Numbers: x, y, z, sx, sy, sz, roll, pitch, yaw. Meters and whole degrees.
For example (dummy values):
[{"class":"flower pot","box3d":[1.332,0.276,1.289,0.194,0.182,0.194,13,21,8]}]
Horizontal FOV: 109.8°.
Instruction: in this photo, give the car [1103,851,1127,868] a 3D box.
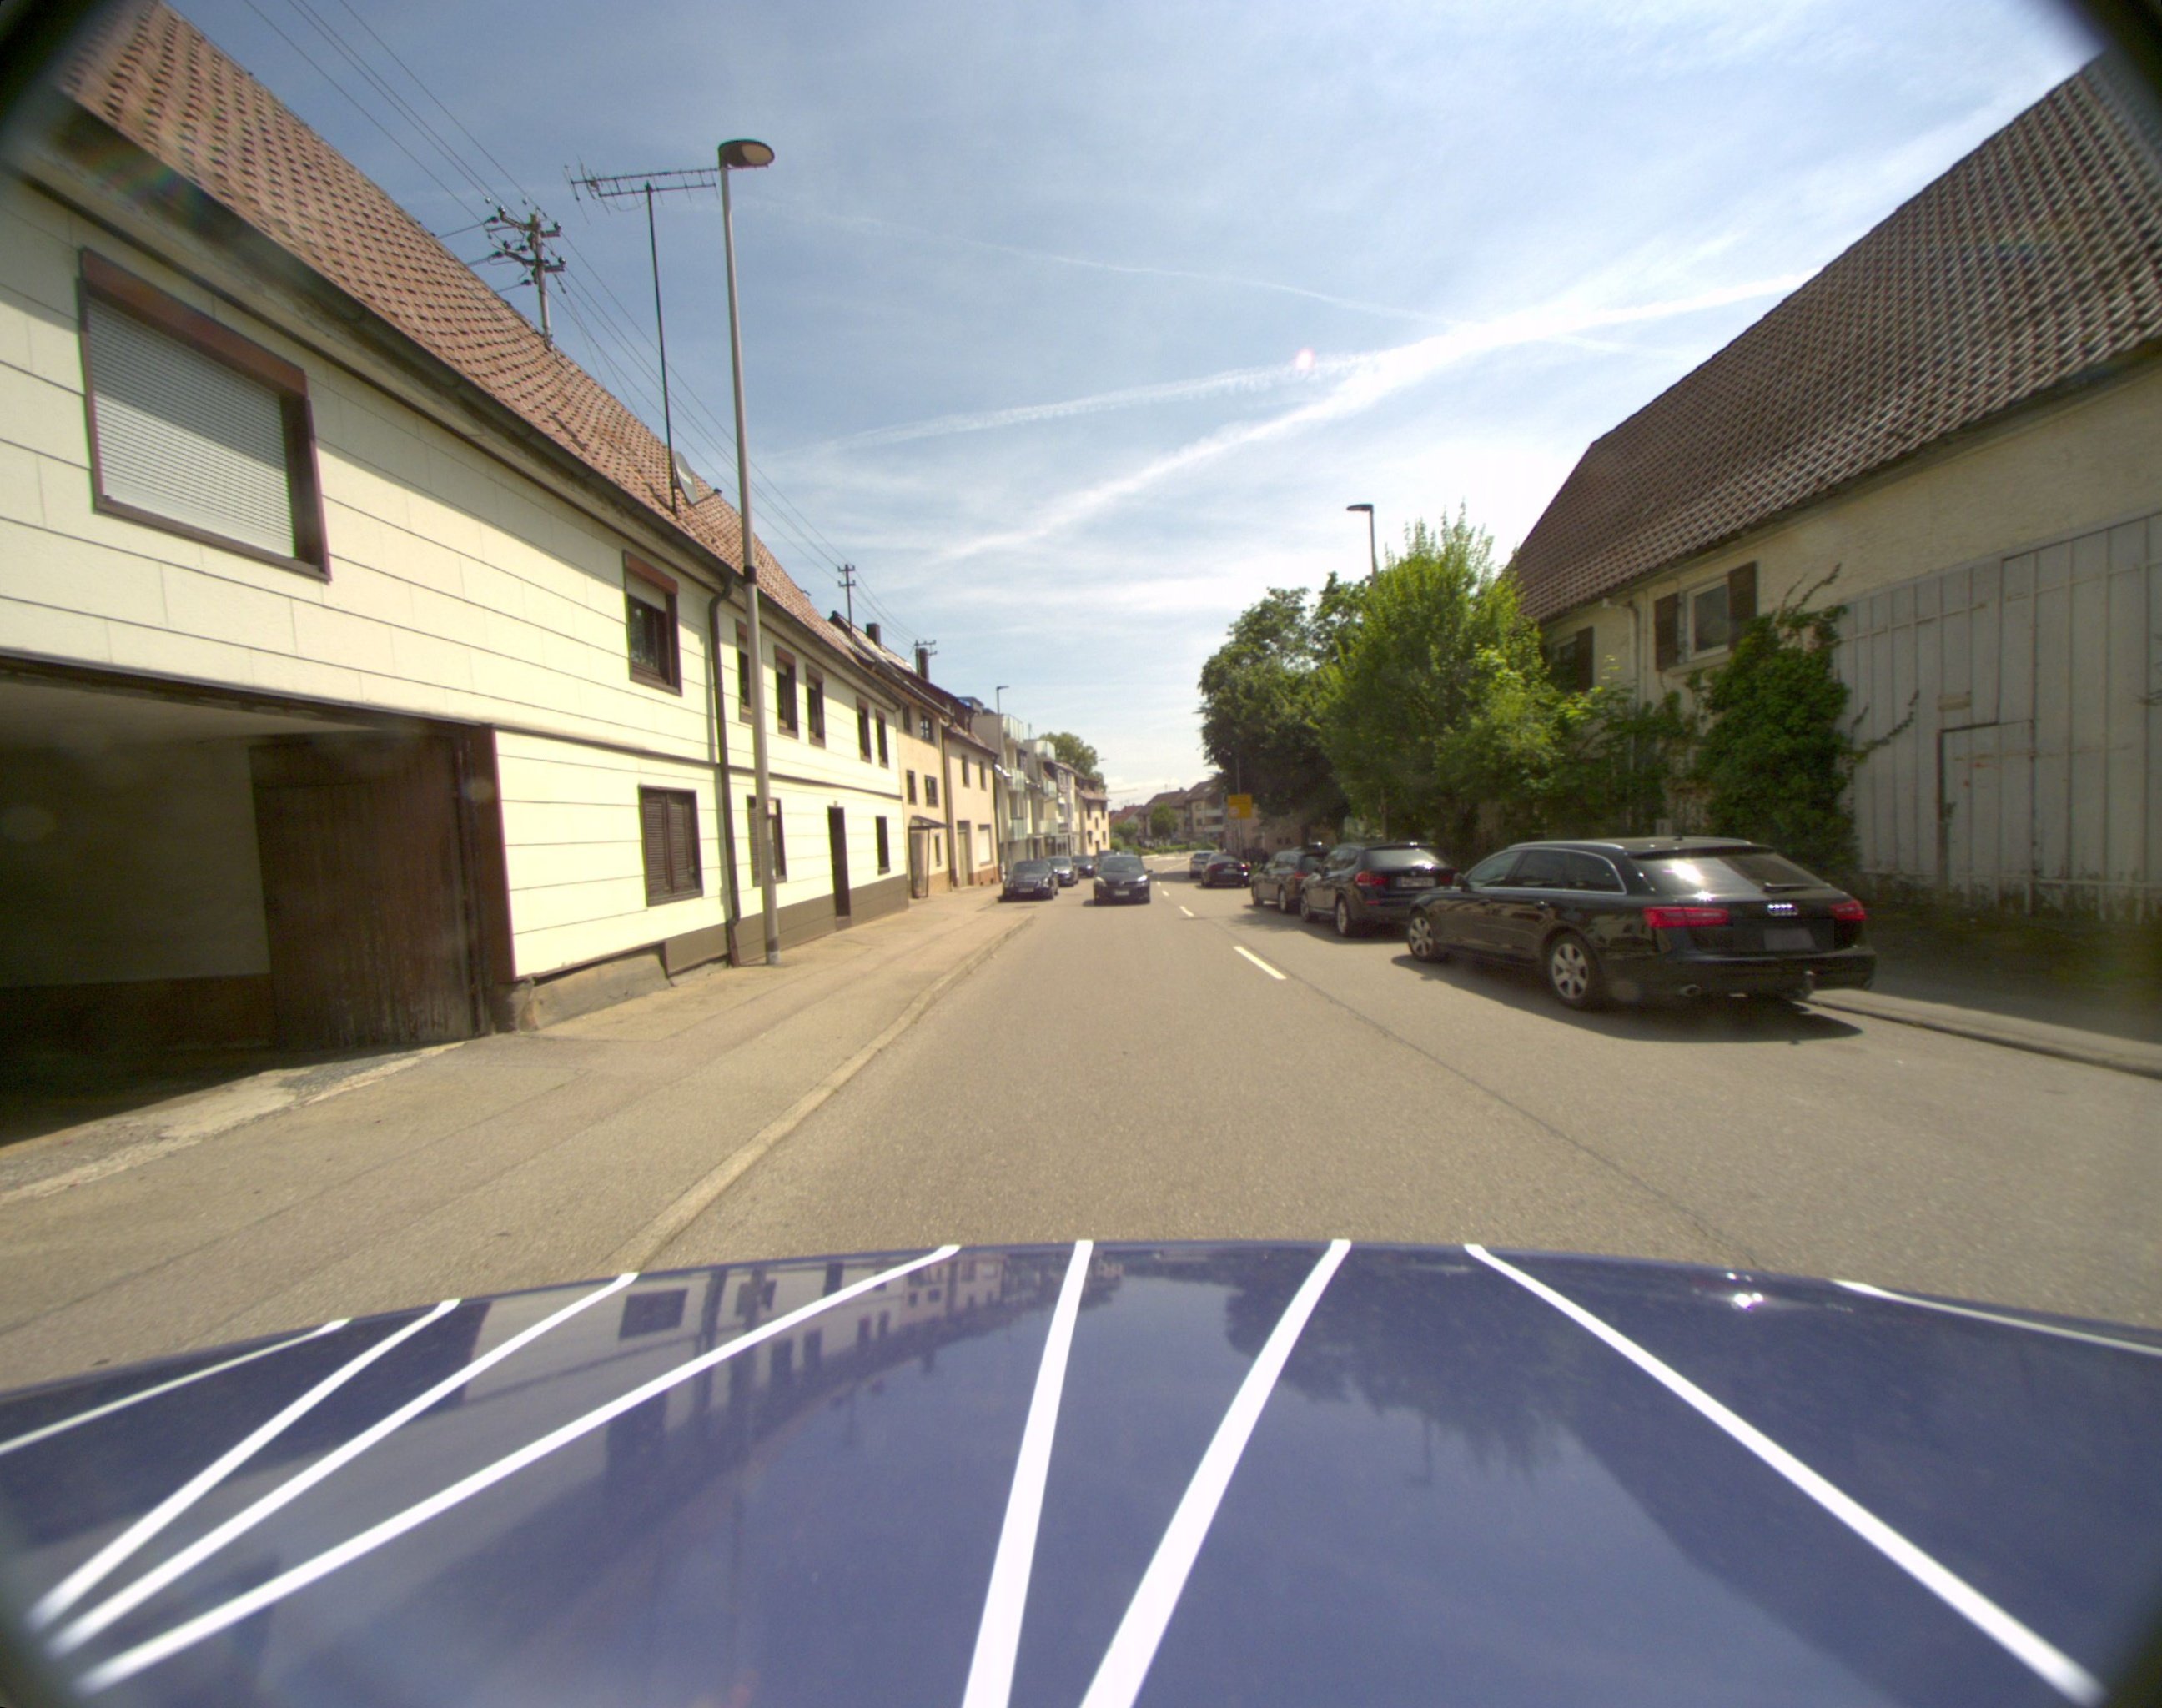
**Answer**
[{"class":"car","box3d":[3.218,0.467,70.550,1.792,1.447,4.719,-2,0,7]}]

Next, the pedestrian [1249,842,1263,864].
[{"class":"pedestrian","box3d":[12.676,-0.074,54.995,0.732,1.607,0.628,-4,1,-11]}]

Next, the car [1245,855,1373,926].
[{"class":"car","box3d":[5.403,0.796,18.674,1.793,1.455,4.712,-1,0,1]}]

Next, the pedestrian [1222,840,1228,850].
[{"class":"pedestrian","box3d":[22.146,-1.379,116.598,0.801,1.469,0.957,-3,1,6]}]

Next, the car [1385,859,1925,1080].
[{"class":"car","box3d":[4.929,0.818,7.647,1.823,1.465,4.775,-2,0,0]}]

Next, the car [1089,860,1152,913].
[{"class":"car","box3d":[1.213,0.933,23.738,1.725,1.448,4.430,-1,0,2]}]

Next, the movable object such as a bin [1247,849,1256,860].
[{"class":"movable object such as a bin","box3d":[17.086,0.016,76.233,0.802,0.994,0.805,-4,1,11]}]

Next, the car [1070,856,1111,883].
[{"class":"car","box3d":[0.620,0.860,43.861,1.800,1.416,4.292,-1,1,8]}]

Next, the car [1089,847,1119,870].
[{"class":"car","box3d":[1.876,0.304,60.712,1.957,1.706,4.719,-2,0,7]}]

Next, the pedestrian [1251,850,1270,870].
[{"class":"pedestrian","box3d":[12.560,0.409,53.181,1.238,1.262,0.647,-4,1,13]}]

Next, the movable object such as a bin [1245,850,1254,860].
[{"class":"movable object such as a bin","box3d":[16.765,0.112,75.608,0.853,0.994,0.694,-3,1,11]}]

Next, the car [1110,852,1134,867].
[{"class":"car","box3d":[4.144,0.542,75.798,1.792,1.412,4.361,-2,0,10]}]

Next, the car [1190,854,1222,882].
[{"class":"car","box3d":[7.291,0.755,44.156,1.775,1.518,4.224,0,1,10]}]

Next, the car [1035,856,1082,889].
[{"class":"car","box3d":[-1.003,0.841,36.533,1.798,1.394,4.413,-1,0,4]}]

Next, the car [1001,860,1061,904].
[{"class":"car","box3d":[-1.699,0.929,26.990,1.670,1.345,4.187,-2,0,2]}]

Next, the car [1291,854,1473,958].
[{"class":"car","box3d":[5.086,0.793,13.500,1.759,1.512,4.302,-2,0,4]}]

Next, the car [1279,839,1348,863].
[{"class":"car","box3d":[18.677,-0.247,61.092,4.790,1.471,1.998,-6,1,-9]}]

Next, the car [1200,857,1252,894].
[{"class":"car","box3d":[6.164,0.864,32.757,1.808,1.415,4.930,-1,0,6]}]
